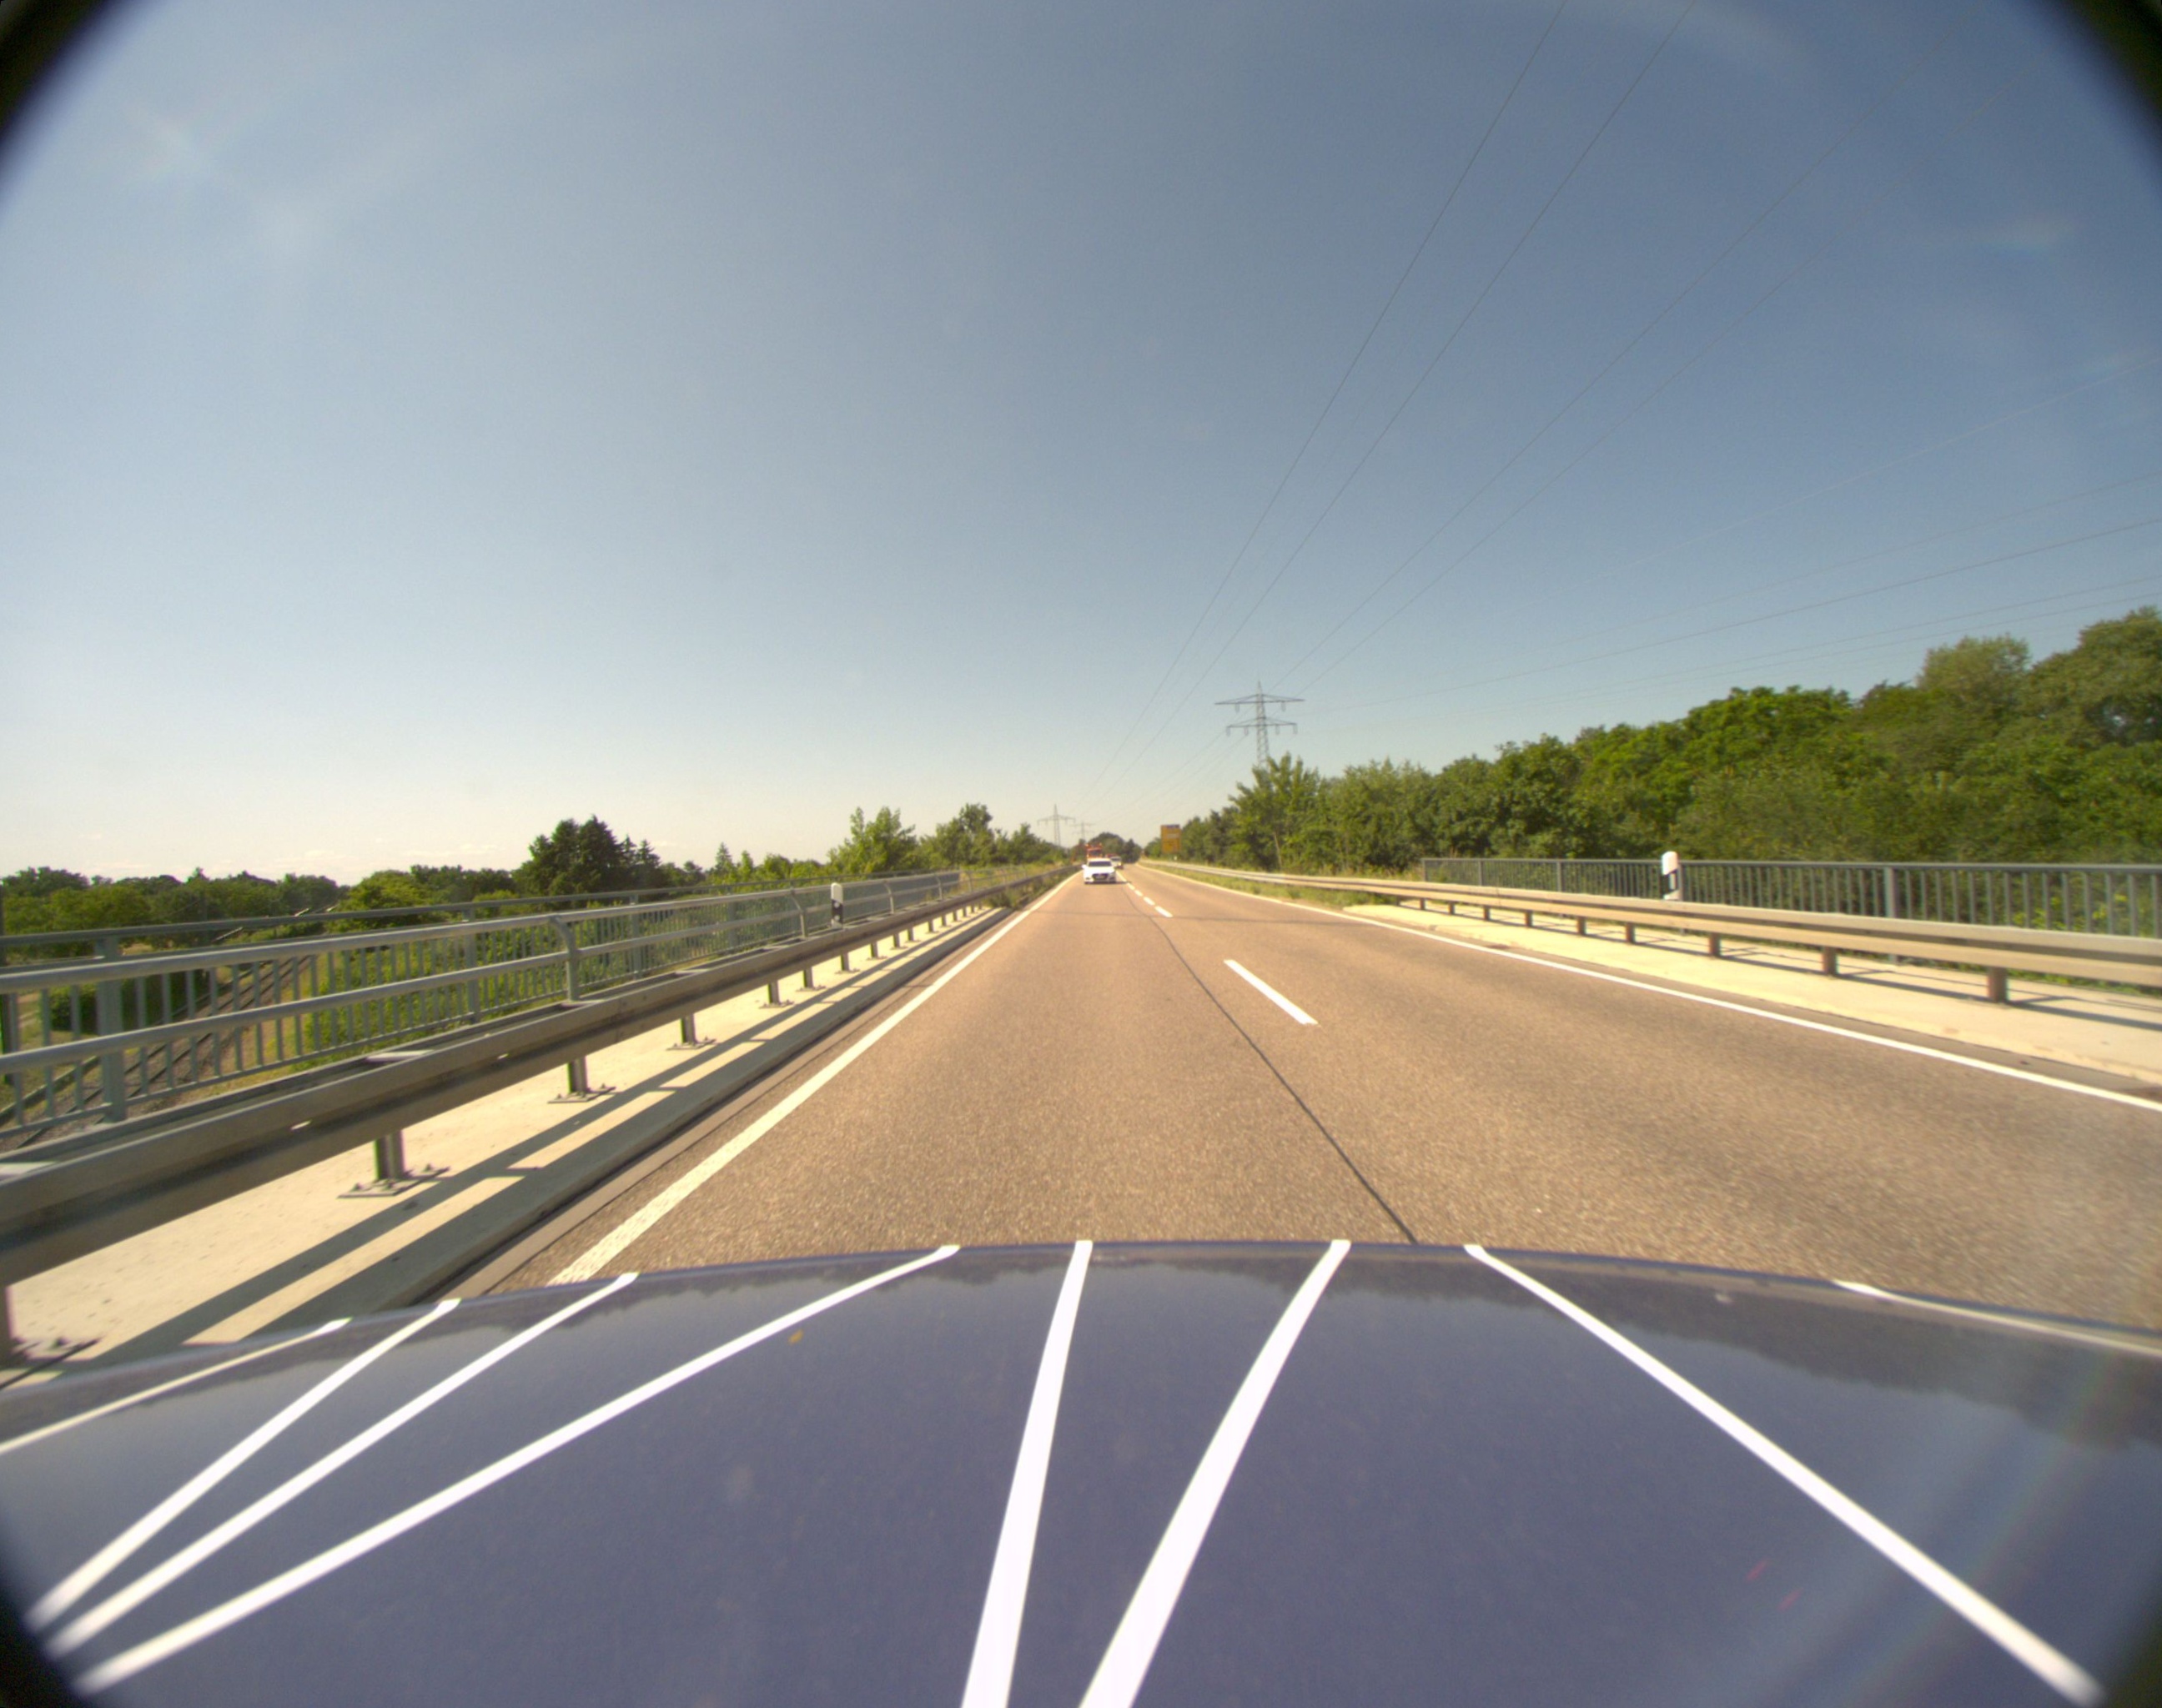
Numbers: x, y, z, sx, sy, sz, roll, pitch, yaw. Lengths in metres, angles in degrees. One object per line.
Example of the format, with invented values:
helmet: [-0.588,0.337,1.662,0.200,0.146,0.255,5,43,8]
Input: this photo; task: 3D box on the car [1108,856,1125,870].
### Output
car: [4.257,1.095,91.120,1.922,1.540,4.794,-3,0,3]

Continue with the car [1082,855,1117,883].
car: [1.047,0.851,45.372,1.923,1.496,4.793,-3,0,1]

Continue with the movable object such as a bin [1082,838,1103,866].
movable object such as a bin: [1.755,-0.247,110.205,2.760,3.817,9.446,-3,0,2]
